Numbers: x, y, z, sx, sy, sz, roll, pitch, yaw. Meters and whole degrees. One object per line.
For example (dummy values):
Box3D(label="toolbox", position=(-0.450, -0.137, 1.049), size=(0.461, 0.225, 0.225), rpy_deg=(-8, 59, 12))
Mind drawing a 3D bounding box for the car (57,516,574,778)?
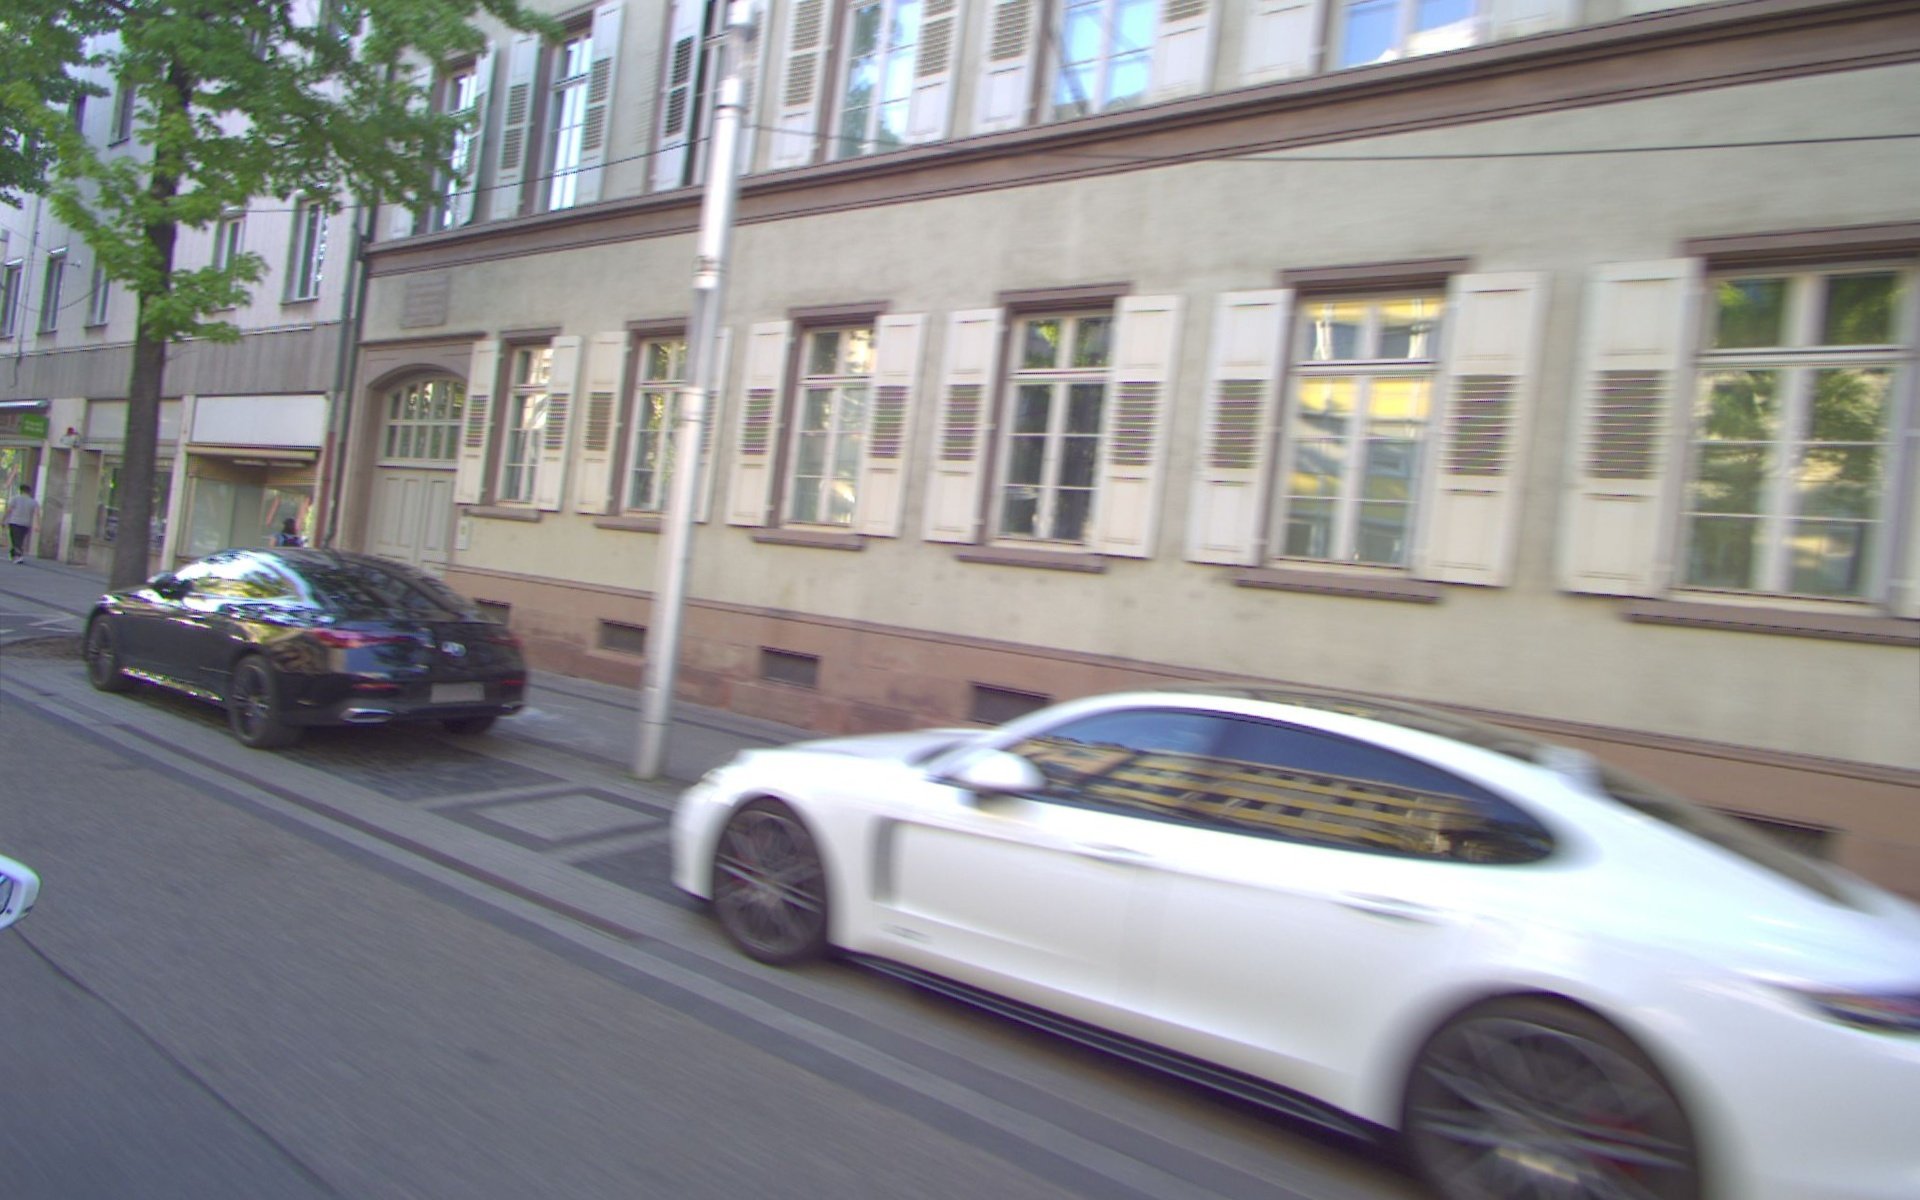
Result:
Box3D(label="car", position=(-5.660, 0.256, 8.646), size=(4.682, 1.497, 1.834), rpy_deg=(7, 1, 32))

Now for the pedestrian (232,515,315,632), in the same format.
Box3D(label="pedestrian", position=(-10.550, -0.402, 15.465), size=(0.873, 1.687, 0.658), rpy_deg=(7, 2, 31))

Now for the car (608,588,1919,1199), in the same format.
Box3D(label="car", position=(0.890, 0.934, 4.316), size=(4.808, 1.439, 1.913), rpy_deg=(7, 1, 33))

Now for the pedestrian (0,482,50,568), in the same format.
Box3D(label="pedestrian", position=(-20.513, -1.638, 21.827), size=(0.917, 1.777, 0.858), rpy_deg=(7, 3, 32))
